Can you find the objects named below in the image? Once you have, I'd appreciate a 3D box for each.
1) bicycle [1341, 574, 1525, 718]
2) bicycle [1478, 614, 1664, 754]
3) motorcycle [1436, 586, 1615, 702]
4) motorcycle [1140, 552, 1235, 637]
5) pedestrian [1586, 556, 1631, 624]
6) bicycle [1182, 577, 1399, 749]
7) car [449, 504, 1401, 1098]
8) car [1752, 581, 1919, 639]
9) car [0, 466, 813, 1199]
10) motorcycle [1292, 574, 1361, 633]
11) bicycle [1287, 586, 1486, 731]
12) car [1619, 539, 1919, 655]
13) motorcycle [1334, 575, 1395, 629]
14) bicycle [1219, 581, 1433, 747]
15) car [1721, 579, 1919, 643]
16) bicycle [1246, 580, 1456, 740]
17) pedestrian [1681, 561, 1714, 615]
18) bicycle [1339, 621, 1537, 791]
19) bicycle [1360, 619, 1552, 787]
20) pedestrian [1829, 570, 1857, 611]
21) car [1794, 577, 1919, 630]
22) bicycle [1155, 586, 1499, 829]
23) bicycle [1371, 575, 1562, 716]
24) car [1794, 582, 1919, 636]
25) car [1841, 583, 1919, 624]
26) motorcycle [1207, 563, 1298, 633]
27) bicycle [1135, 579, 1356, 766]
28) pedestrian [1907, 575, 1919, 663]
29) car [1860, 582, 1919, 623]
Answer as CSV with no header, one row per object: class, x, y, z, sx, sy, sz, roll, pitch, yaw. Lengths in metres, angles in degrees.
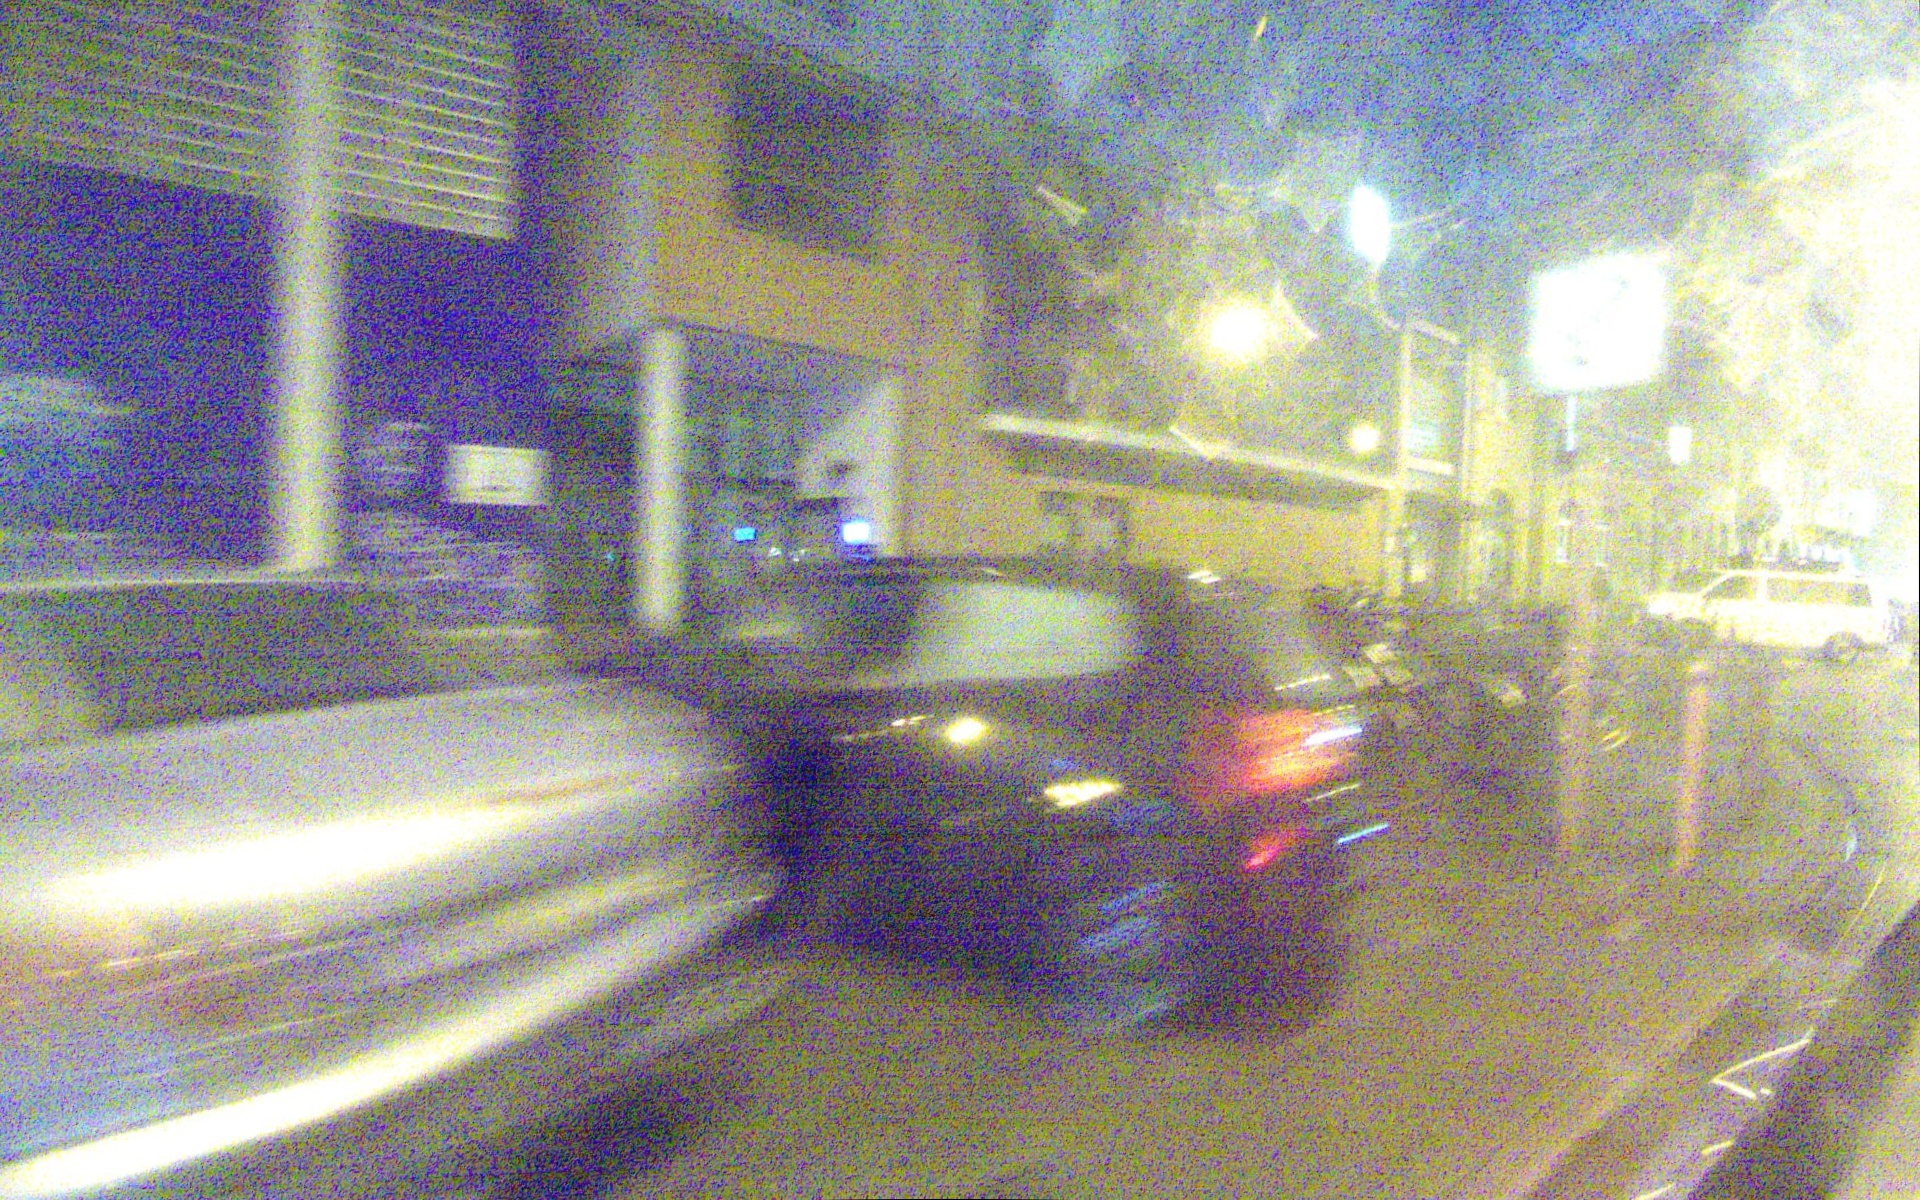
bicycle,4.625,0.407,9.997,0.410,1.249,1.585,1,3,-37
bicycle,5.018,0.660,8.368,0.297,0.959,1.213,0,5,-43
motorcycle,6.506,0.469,11.699,1.633,1.137,0.643,6,4,43
motorcycle,3.791,-0.094,16.749,0.522,1.335,2.092,2,1,43
pedestrian,18.340,-0.285,28.612,0.828,1.863,0.747,3,2,-41
bicycle,2.590,0.445,8.084,0.411,1.172,1.598,1,3,-43
car,-0.190,0.449,4.293,3.675,1.541,1.643,4,4,25
car,26.826,0.268,31.136,3.460,1.580,1.588,2,2,14
car,-2.407,0.465,2.726,3.675,1.541,1.643,4,4,25
motorcycle,7.144,0.053,19.662,0.522,1.080,2.027,2,2,42
bicycle,3.842,0.486,9.225,0.411,1.125,1.598,1,3,-43
car,18.471,-0.146,23.387,4.873,2.369,2.221,2,2,16
motorcycle,8.451,0.034,21.115,1.597,1.080,0.523,0,1,-43
bicycle,2.962,0.471,8.322,0.411,1.172,1.598,1,3,-43
car,24.485,0.277,28.897,4.004,1.580,1.739,3,2,21
bicycle,3.283,0.460,8.617,0.411,1.172,1.598,1,3,-43
pedestrian,25.749,-0.402,35.346,0.770,1.812,0.657,3,2,-41
bicycle,3.156,0.664,6.756,0.263,0.959,1.134,1,3,-42
bicycle,3.362,0.664,6.928,0.244,0.986,1.134,0,3,-42
pedestrian,43.540,-0.463,49.892,0.868,1.929,0.806,3,2,-41
car,31.309,0.111,34.655,3.754,1.710,1.825,1,2,20
bicycle,2.172,0.558,6.263,0.667,1.172,1.895,1,3,-37
bicycle,5.076,0.413,10.250,0.378,1.249,1.669,1,3,-37
car,29.515,0.281,32.838,3.346,1.580,1.589,2,2,13
car,38.548,0.197,40.883,4.052,1.509,1.589,3,2,12
motorcycle,5.352,-0.040,18.449,2.088,1.222,0.523,0,1,-42
bicycle,2.071,0.475,7.558,0.529,1.172,1.603,1,3,-32
pedestrian,20.110,0.393,20.760,1.157,1.792,0.824,0,2,-41
car,40.872,0.165,43.068,3.347,1.611,1.588,3,2,14
